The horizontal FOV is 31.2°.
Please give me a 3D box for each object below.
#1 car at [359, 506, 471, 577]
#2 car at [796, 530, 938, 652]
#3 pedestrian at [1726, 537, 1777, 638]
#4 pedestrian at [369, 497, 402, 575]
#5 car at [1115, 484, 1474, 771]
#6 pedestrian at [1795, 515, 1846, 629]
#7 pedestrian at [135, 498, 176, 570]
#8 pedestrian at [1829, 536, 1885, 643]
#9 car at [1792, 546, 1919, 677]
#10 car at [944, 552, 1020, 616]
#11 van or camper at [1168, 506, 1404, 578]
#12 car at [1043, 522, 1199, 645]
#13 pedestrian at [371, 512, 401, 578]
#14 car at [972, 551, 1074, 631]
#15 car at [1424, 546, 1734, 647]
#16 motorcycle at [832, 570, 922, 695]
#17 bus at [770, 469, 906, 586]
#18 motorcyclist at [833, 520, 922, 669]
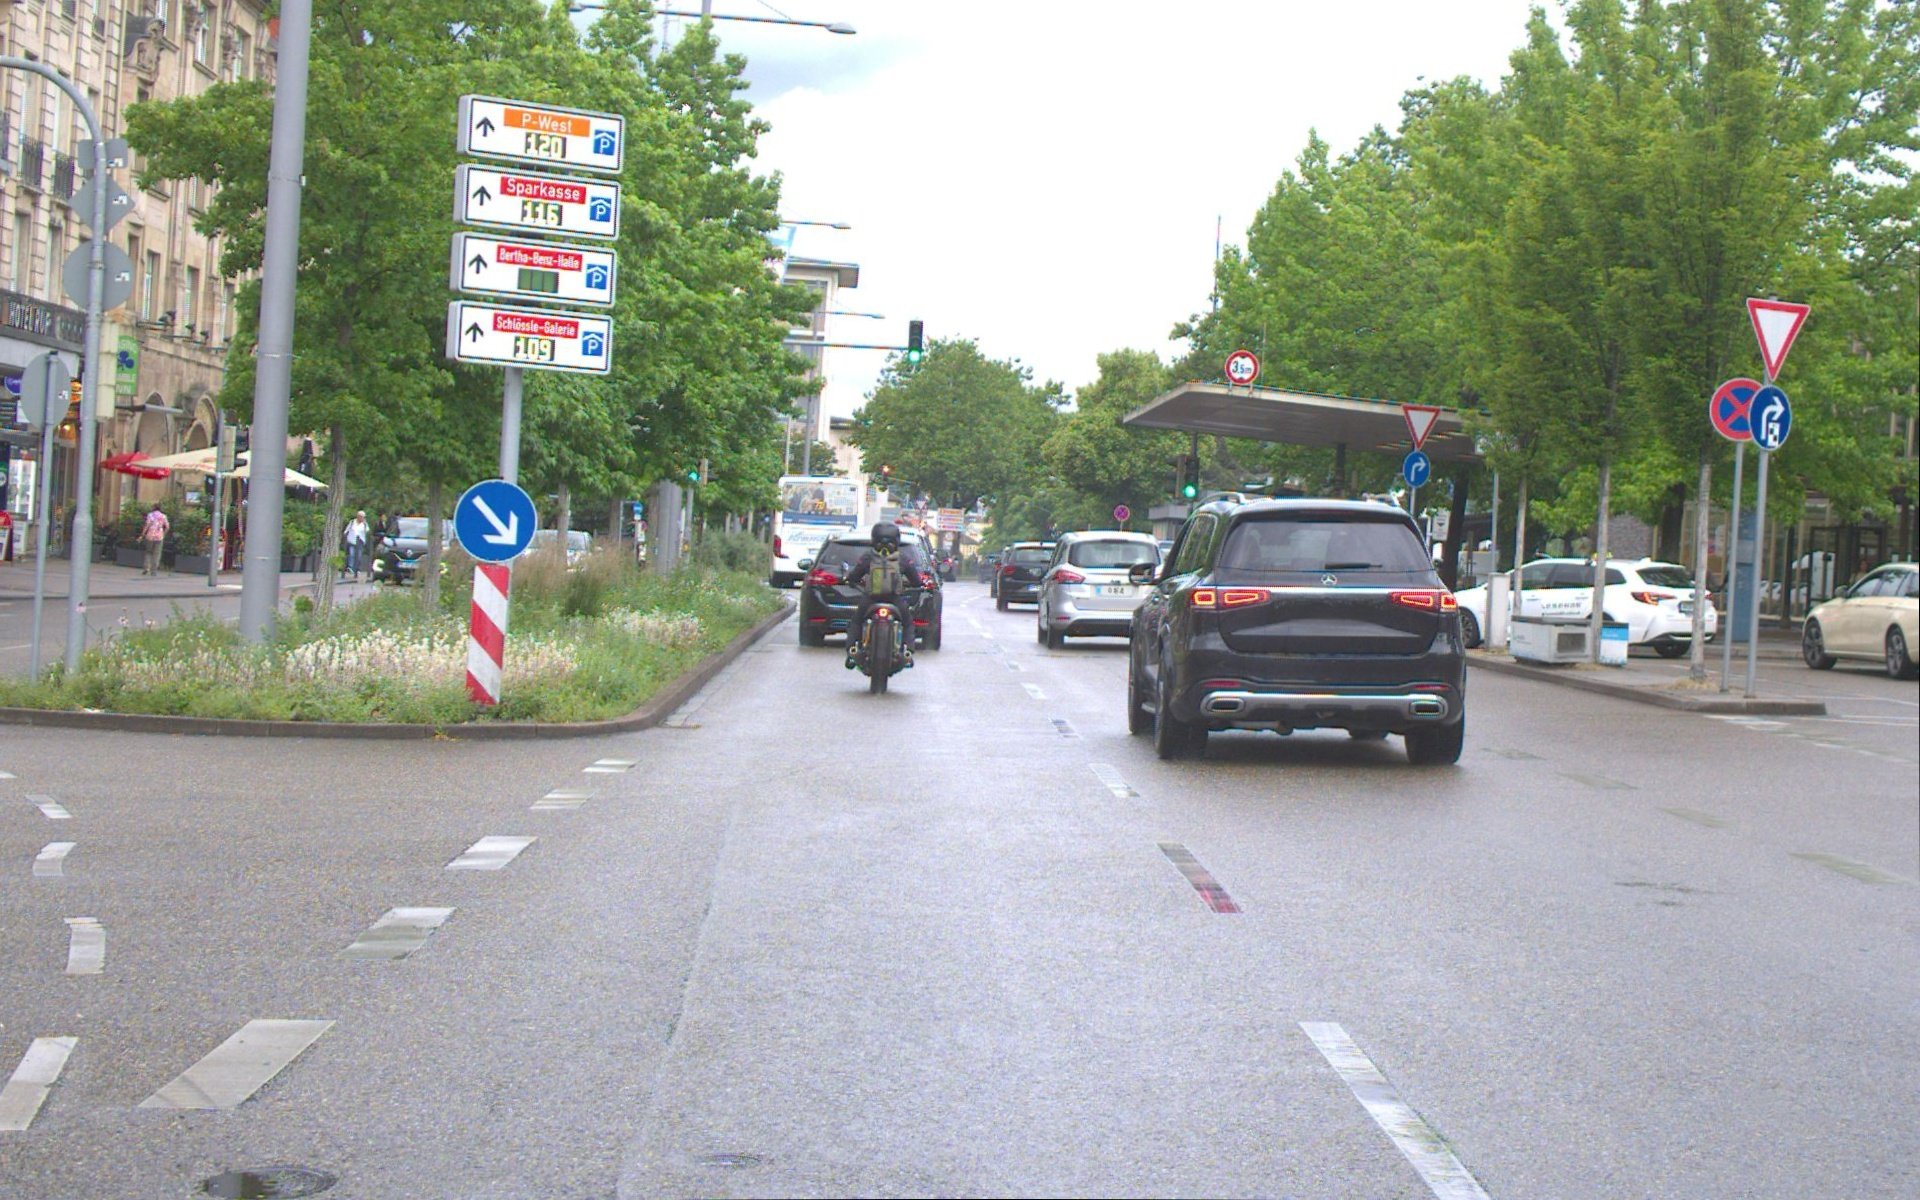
[{"bbox_3d":[-12.266,-1.324,77.599,1.771,1.525,4.078,2,1,1],"label":"car"},{"bbox_3d":[-1.155,-0.147,43.739,1.708,1.443,4.000,1,1,-1],"label":"car"},{"bbox_3d":[15.917,-0.262,69.164,0.769,2.007,0.828,1,1,-2],"label":"pedestrian"},{"bbox_3d":[-15.028,-1.681,89.950,0.757,2.007,0.833,1,1,-7],"label":"pedestrian"},{"bbox_3d":[2.246,0.124,24.337,1.993,1.800,4.690,1,1,-1],"label":"car"},{"bbox_3d":[18.436,-0.611,73.673,0.843,2.403,0.862,1,1,1],"label":"pedestrian"},{"bbox_3d":[-17.025,-1.406,72.781,0.661,1.505,0.519,1,1,-38],"label":"pedestrian"},{"bbox_3d":[17.012,-0.208,65.195,0.769,2.007,0.828,1,1,-2],"label":"pedestrian"},{"bbox_3d":[12.607,0.135,44.390,1.993,1.594,4.824,1,1,-7],"label":"car"},{"bbox_3d":[0.592,-0.460,94.190,1.810,1.637,3.904,2,1,-3],"label":"car"},{"bbox_3d":[9.785,-1.718,103.013,6.753,2.007,2.386,1,0,-26],"label":"van or camper"},{"bbox_3d":[2.136,-0.251,46.697,1.851,1.562,4.000,1,1,-1],"label":"car"},{"bbox_3d":[-15.004,-1.438,89.894,0.674,1.696,0.634,1,1,-1],"label":"pedestrian"},{"bbox_3d":[1.294,-0.210,71.659,1.810,1.576,3.904,2,1,-3],"label":"car"},{"bbox_3d":[9.152,-0.071,51.122,1.775,1.380,4.366,0,1,-41],"label":"car"},{"bbox_3d":[-0.746,0.279,31.494,0.766,1.073,2.175,2,1,0],"label":"motorcycle"},{"bbox_3d":[-3.793,-2.187,104.168,3.760,3.198,15.528,1,1,-3],"label":"bus"},{"bbox_3d":[-0.755,-0.053,31.566,0.764,1.327,0.866,2,1,0],"label":"motorcyclist"}]
